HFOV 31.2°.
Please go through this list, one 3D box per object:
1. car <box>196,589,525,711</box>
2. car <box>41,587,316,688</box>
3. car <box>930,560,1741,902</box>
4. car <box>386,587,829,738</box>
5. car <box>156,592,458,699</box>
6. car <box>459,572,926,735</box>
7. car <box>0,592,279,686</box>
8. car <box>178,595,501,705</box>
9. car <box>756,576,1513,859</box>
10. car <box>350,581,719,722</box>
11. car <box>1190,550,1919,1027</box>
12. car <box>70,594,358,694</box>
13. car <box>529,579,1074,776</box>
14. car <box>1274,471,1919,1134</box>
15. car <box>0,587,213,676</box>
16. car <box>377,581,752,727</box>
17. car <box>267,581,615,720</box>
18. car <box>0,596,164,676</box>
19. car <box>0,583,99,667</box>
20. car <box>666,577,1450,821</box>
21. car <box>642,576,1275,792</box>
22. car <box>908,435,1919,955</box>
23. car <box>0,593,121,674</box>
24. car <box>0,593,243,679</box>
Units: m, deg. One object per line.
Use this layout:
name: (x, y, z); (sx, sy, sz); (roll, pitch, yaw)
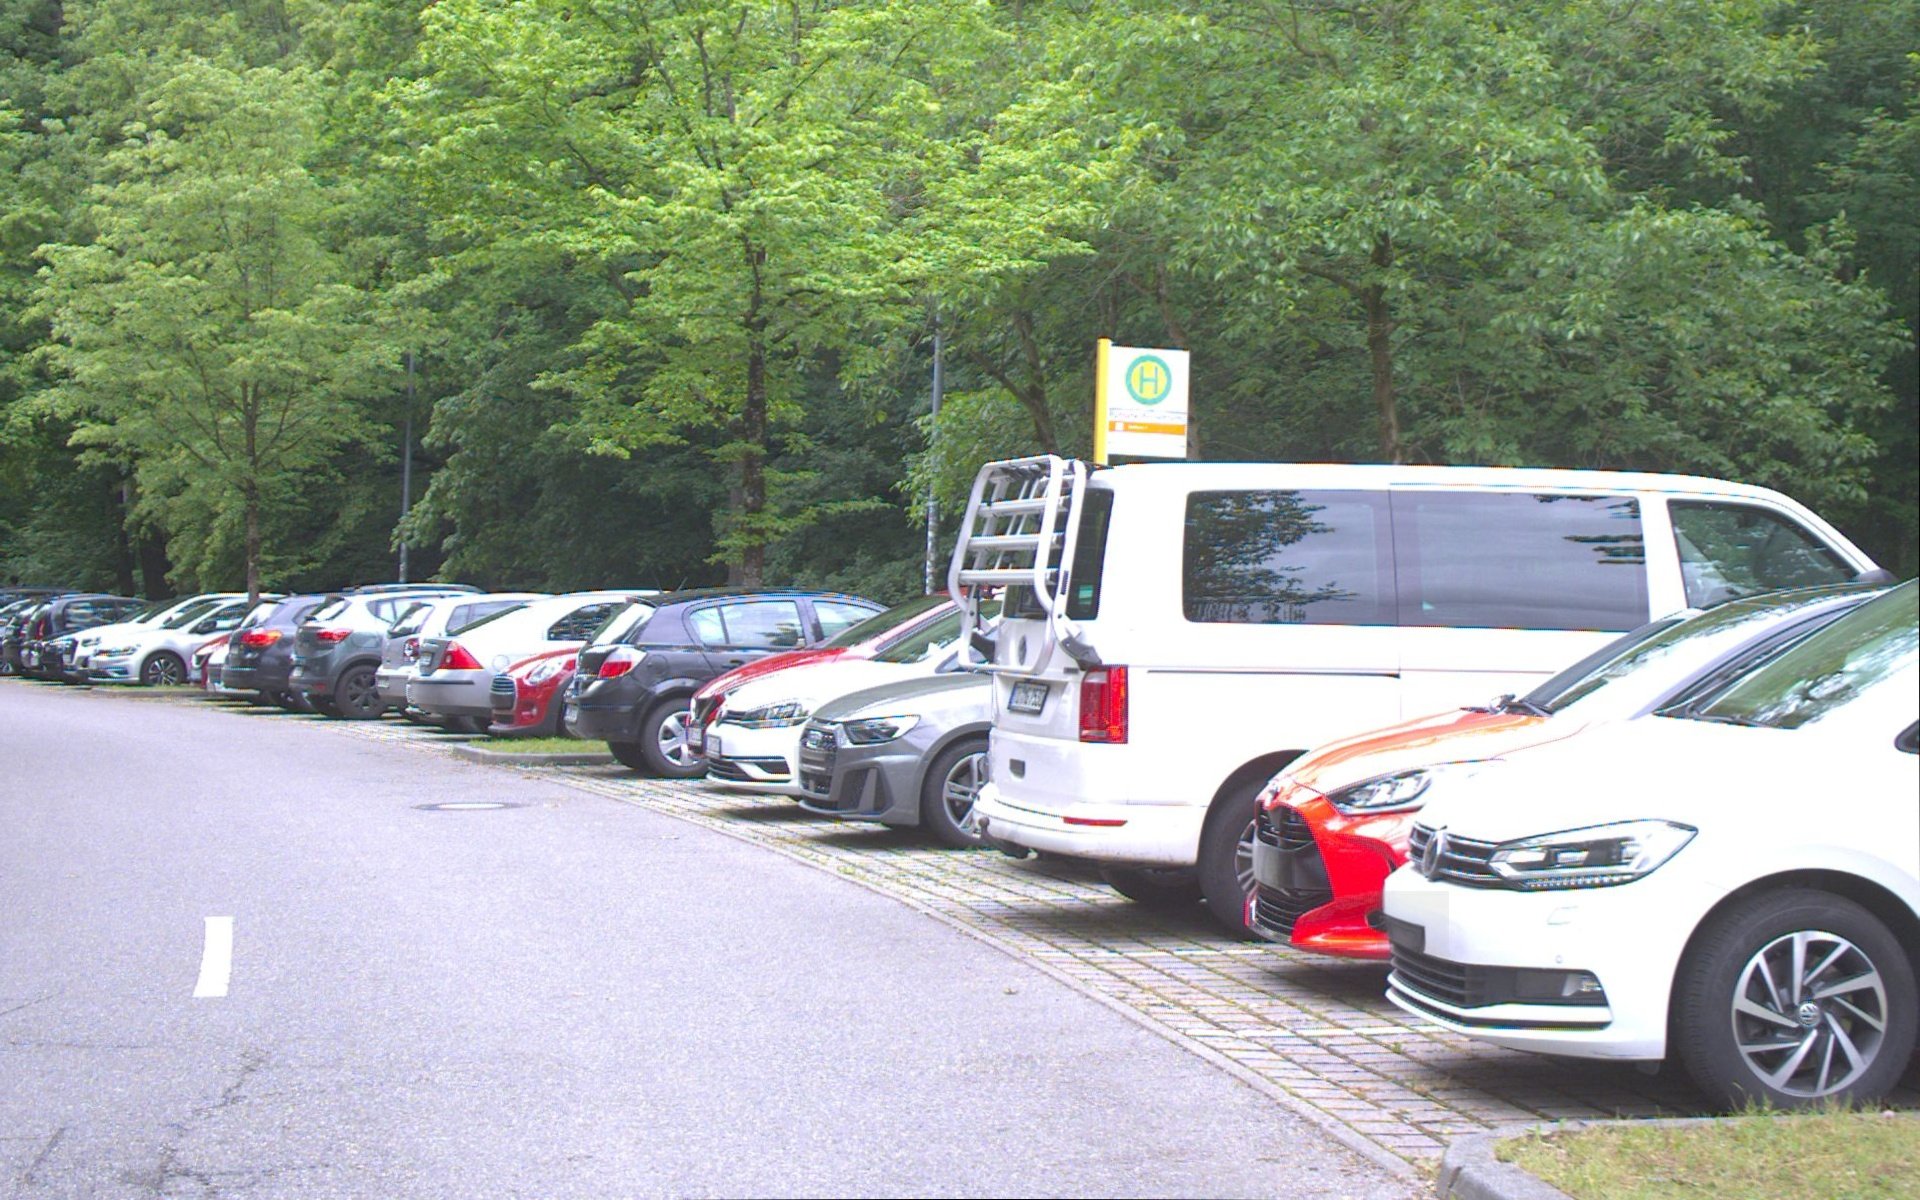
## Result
car: (-7.619, 0.621, 43.729); (3.767, 1.476, 1.774); (0, 0, -26)
car: (-12.602, 0.594, 55.430); (4.008, 1.554, 1.978); (0, 0, -24)
car: (1.908, 0.663, 17.919); (3.721, 1.549, 1.847); (2, 2, -15)
car: (-3.573, 0.605, 34.716); (4.125, 1.456, 1.865); (0, -1, -19)
car: (-9.281, 0.628, 48.906); (3.794, 1.436, 1.870); (0, 0, -33)
car: (-2.523, 0.475, 32.253); (3.986, 1.445, 1.941); (0, 0, -21)
car: (-13.759, 0.639, 57.685); (4.186, 1.506, 1.893); (0, 0, -29)
car: (-8.349, 0.661, 46.277); (3.931, 1.406, 1.878); (0, 0, -24)
car: (0.977, 0.691, 20.059); (3.985, 1.478, 1.878); (2, -1, -15)
car: (-4.850, 0.567, 39.151); (3.842, 1.540, 1.730); (0, 0, -23)
car: (3.012, 0.655, 12.598); (3.996, 1.550, 1.947); (2, 1, -7)
car: (-11.529, 0.661, 53.129); (3.976, 1.479, 1.884); (0, 0, -28)
car: (-1.290, 0.581, 27.336); (3.986, 1.478, 1.923); (0, 0, -17)
car: (3.385, 0.531, 10.140); (4.519, 1.687, 2.166); (0, 0, -8)
car: (-15.663, 0.549, 62.206); (3.826, 1.526, 1.851); (-1, 0, -28)
car: (-4.263, 0.567, 37.000); (3.701, 1.505, 1.752); (0, -1, -21)
car: (-6.229, 0.589, 41.193); (3.767, 1.584, 1.950); (0, 0, -22)
car: (-17.174, 0.665, 64.488); (3.986, 1.470, 1.953); (0, 0, -28)
car: (-19.690, 0.491, 69.064); (4.265, 1.660, 1.958); (0, 0, -29)
car: (0.598, 0.605, 22.364); (4.770, 1.471, 1.853); (0, 1, -14)
car: (-0.039, 0.589, 25.030); (4.227, 1.475, 1.920); (0, 0, -17)
car: (2.302, 0.407, 15.208); (4.647, 2.014, 2.084); (2, 1, -13)
car: (-18.520, 0.637, 66.544); (3.987, 1.546, 1.975); (0, 0, -34)
car: (-14.688, 0.617, 60.188); (3.826, 1.452, 1.809); (0, 0, -27)
